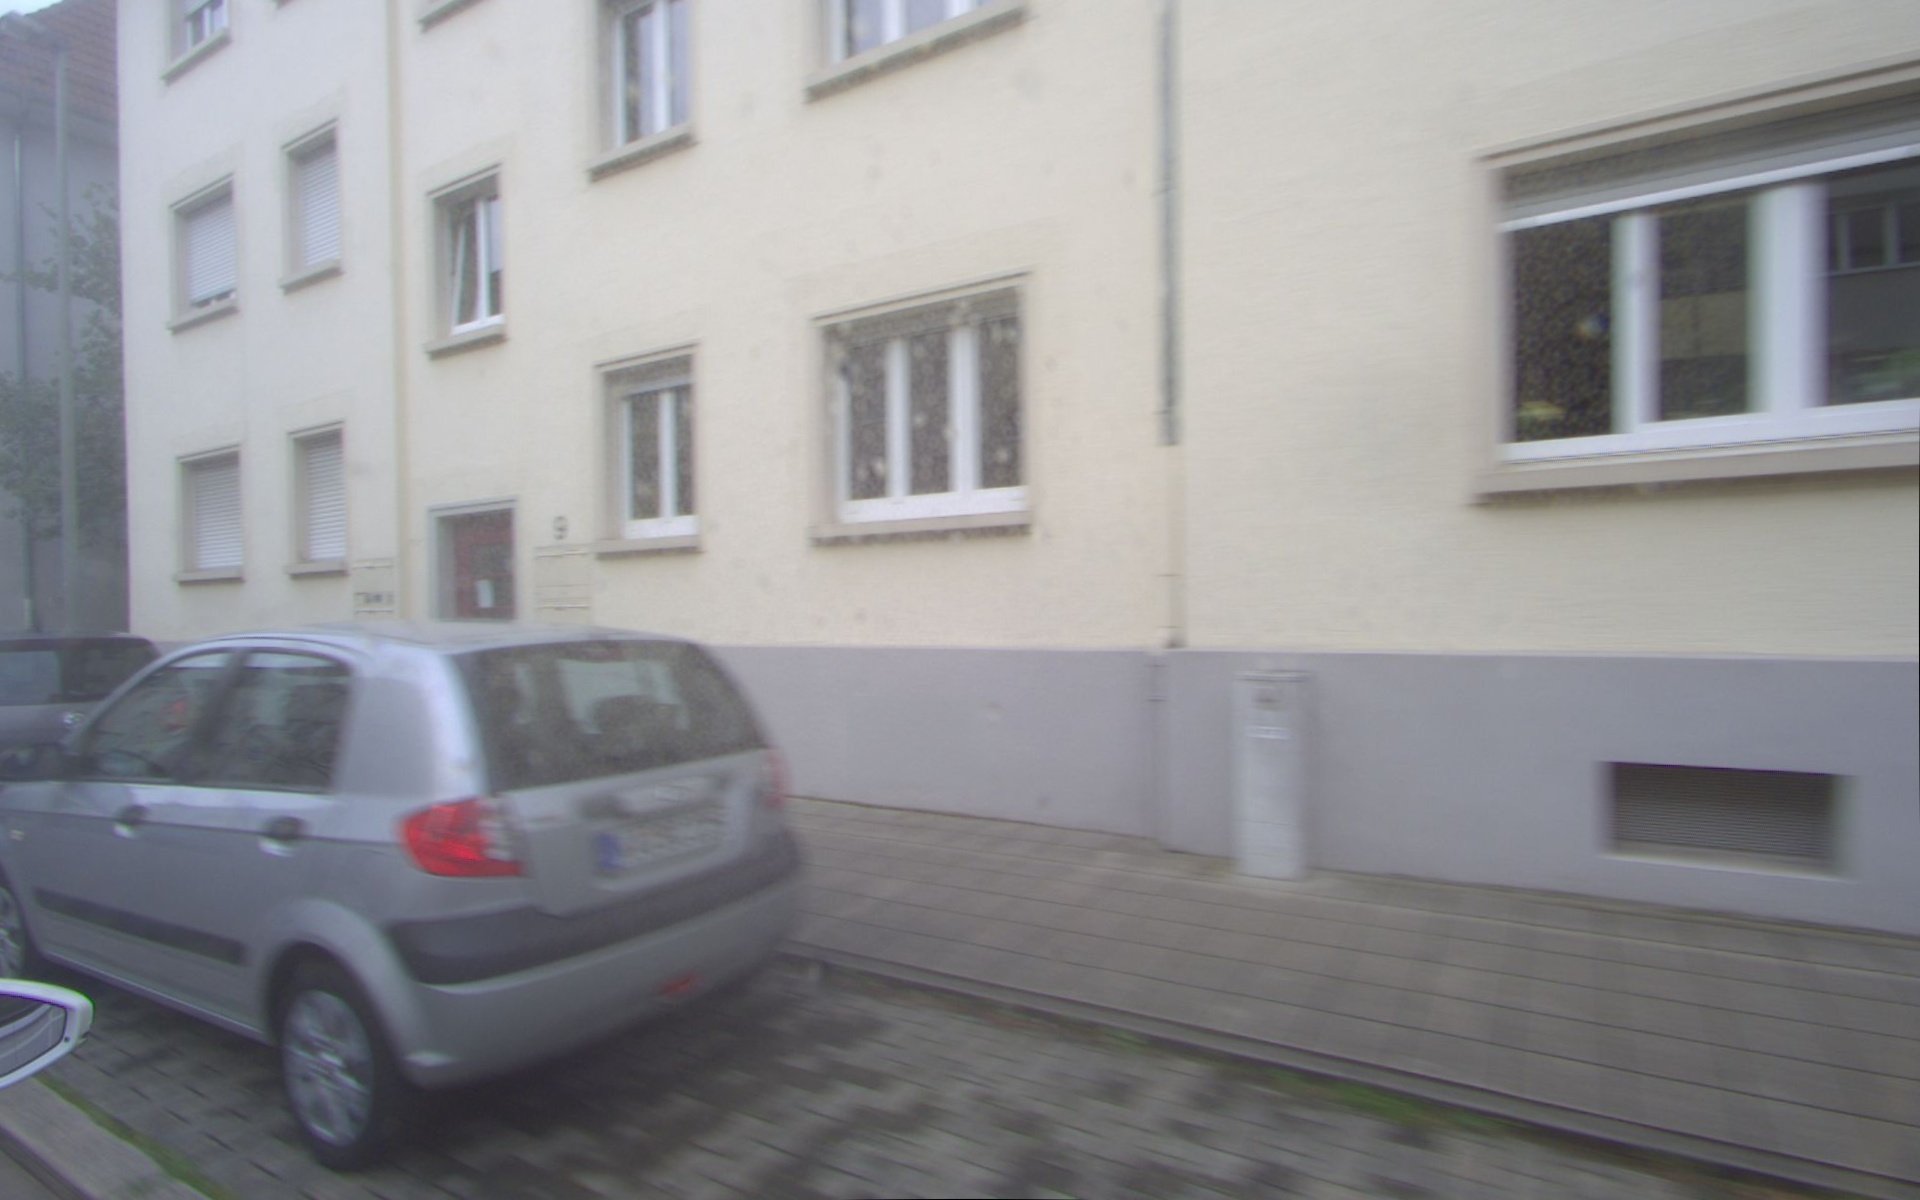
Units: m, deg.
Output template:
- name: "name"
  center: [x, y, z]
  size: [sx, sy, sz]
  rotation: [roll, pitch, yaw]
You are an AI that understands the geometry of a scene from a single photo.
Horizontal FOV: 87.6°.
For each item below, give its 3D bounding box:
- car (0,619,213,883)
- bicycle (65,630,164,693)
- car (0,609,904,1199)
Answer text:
- name: "car"
  center: [-6.919, 0.888, 6.903]
  size: [3.814, 1.495, 1.600]
  rotation: [-1, -1, 33]
- name: "bicycle"
  center: [-15.302, 1.091, 18.143]
  size: [0.491, 1.076, 1.289]
  rotation: [0, 0, 34]
- name: "car"
  center: [-2.302, 0.794, 4.063]
  size: [3.776, 1.469, 1.846]
  rotation: [-1, -1, 30]
